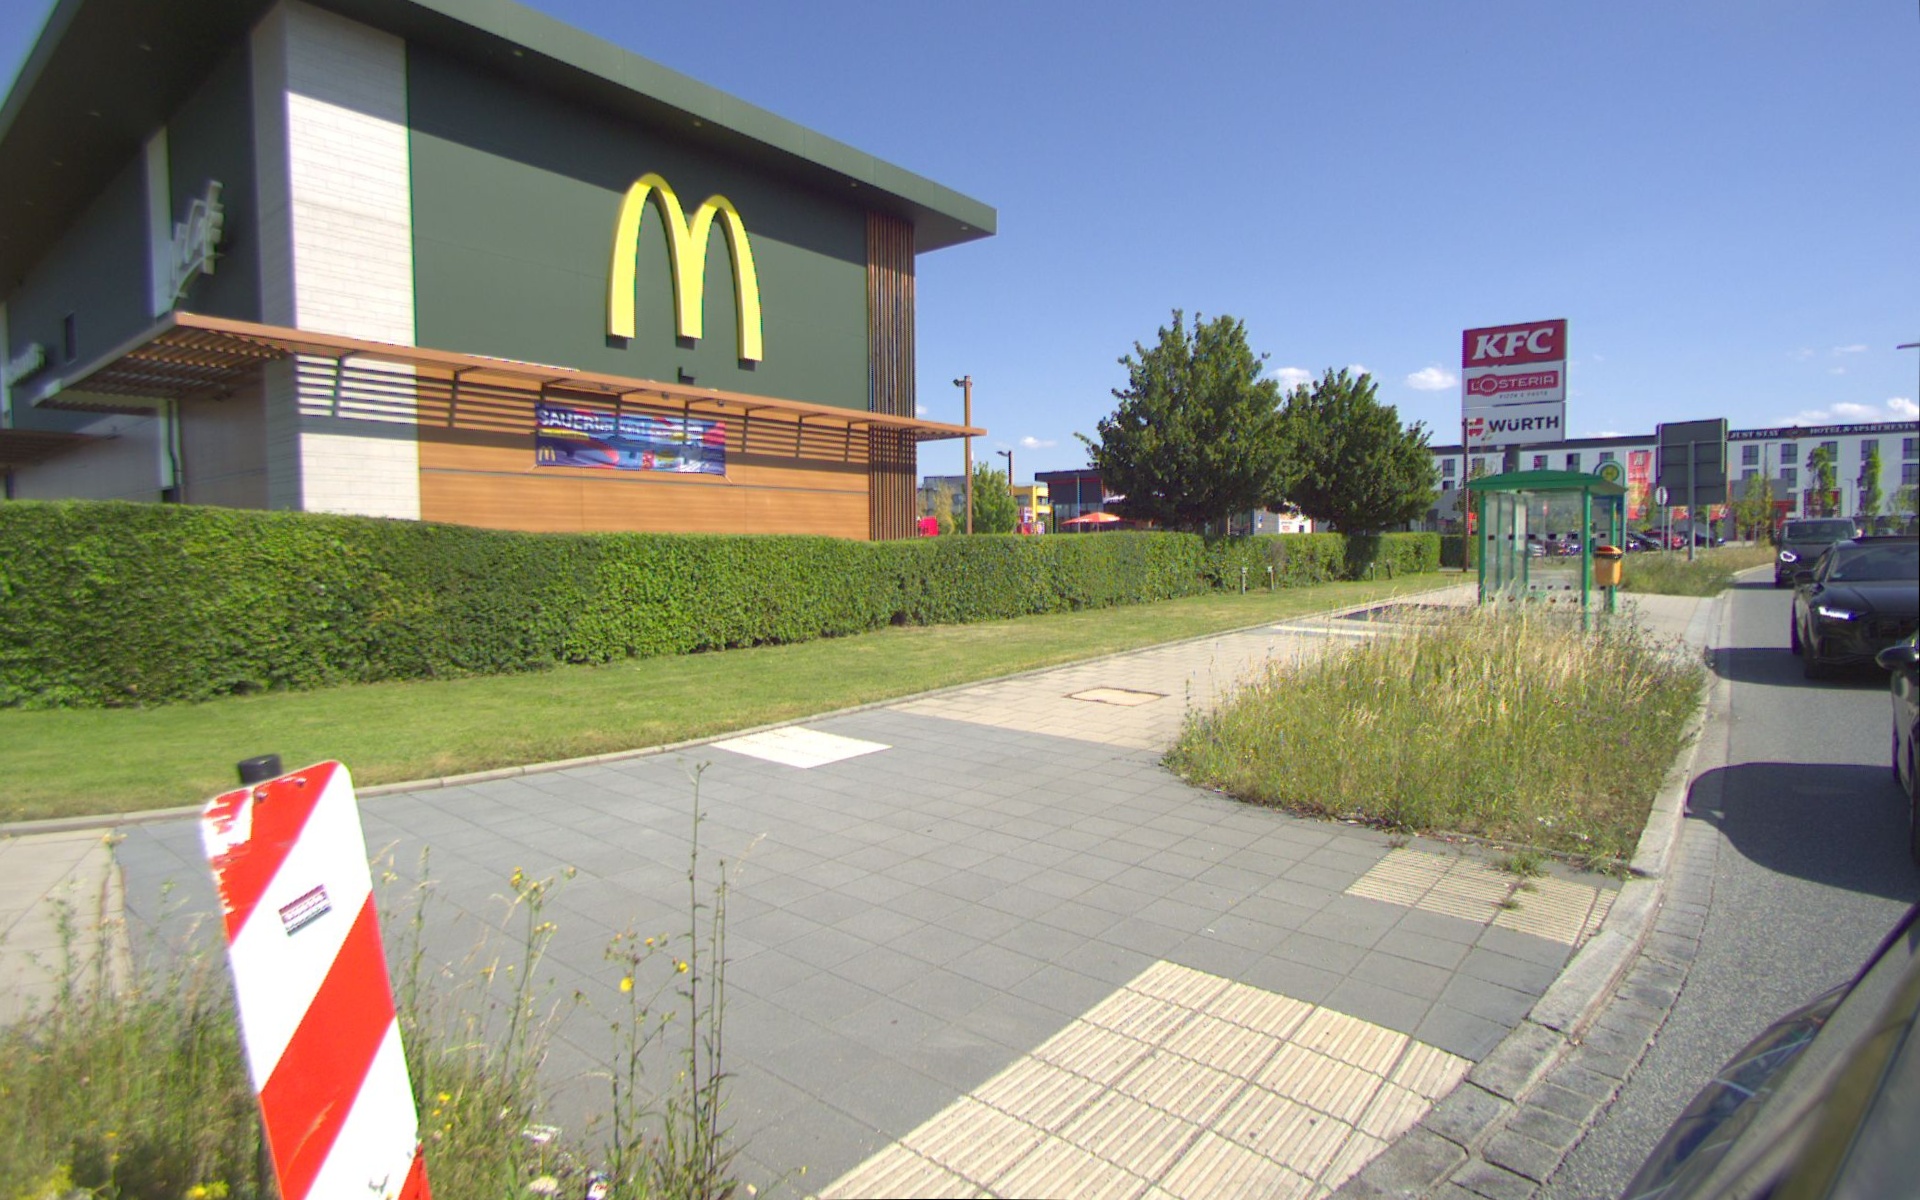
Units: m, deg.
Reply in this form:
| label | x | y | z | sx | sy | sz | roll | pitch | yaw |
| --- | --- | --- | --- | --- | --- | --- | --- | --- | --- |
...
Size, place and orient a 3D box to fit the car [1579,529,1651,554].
| label | x | y | z | sx | sy | sz | roll | pitch | yaw |
| --- | --- | --- | --- | --- | --- | --- | --- | --- | --- |
| car | 49.314 | -4.400 | 76.298 | 1.768 | 1.880 | 4.190 | -2 | 3 | -33 |

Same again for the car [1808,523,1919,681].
| label | x | y | z | sx | sy | sz | roll | pitch | yaw |
| --- | --- | --- | --- | --- | --- | --- | --- | --- | --- |
| car | 11.740 | -0.087 | 12.490 | 1.855 | 1.709 | 3.943 | -2 | 2 | 41 |

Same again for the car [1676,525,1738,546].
| label | x | y | z | sx | sy | sz | roll | pitch | yaw |
| --- | --- | --- | --- | --- | --- | --- | --- | --- | --- |
| car | 61.909 | -5.352 | 83.890 | 1.725 | 1.639 | 3.824 | -3 | 4 | -37 |

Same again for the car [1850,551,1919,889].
| label | x | y | z | sx | sy | sz | roll | pitch | yaw |
| --- | --- | --- | --- | --- | --- | --- | --- | --- | --- |
| car | 6.159 | 0.489 | 5.493 | 1.855 | 1.486 | 3.944 | 2 | 4 | 40 |

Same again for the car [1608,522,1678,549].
| label | x | y | z | sx | sy | sz | roll | pitch | yaw |
| --- | --- | --- | --- | --- | --- | --- | --- | --- | --- |
| car | 53.395 | -4.999 | 79.209 | 1.899 | 2.038 | 4.185 | -3 | 4 | -38 |

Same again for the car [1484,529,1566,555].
| label | x | y | z | sx | sy | sz | roll | pitch | yaw |
| --- | --- | --- | --- | --- | --- | --- | --- | --- | --- |
| car | 38.053 | -3.884 | 68.227 | 1.902 | 1.672 | 4.433 | -3 | 4 | -44 |

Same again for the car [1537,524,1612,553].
| label | x | y | z | sx | sy | sz | roll | pitch | yaw |
| --- | --- | --- | --- | --- | --- | --- | --- | --- | --- |
| car | 44.214 | -4.411 | 72.851 | 1.898 | 2.038 | 4.186 | -3 | 4 | -37 |

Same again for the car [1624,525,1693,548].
| label | x | y | z | sx | sy | sz | roll | pitch | yaw |
| --- | --- | --- | --- | --- | --- | --- | --- | --- | --- |
| car | 55.860 | -5.070 | 80.991 | 1.789 | 1.783 | 4.190 | -3 | 3 | -33 |

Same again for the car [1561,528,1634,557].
| label | x | y | z | sx | sy | sz | roll | pitch | yaw |
| --- | --- | --- | --- | --- | --- | --- | --- | --- | --- |
| car | 47.233 | -4.244 | 75.100 | 1.898 | 2.038 | 4.187 | -3 | 4 | -36 |

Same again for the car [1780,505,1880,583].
| label | x | y | z | sx | sy | sz | roll | pitch | yaw |
| --- | --- | --- | --- | --- | --- | --- | --- | --- | --- |
| car | 25.850 | -1.683 | 30.096 | 2.072 | 2.073 | 4.616 | -2 | 2 | 41 |
